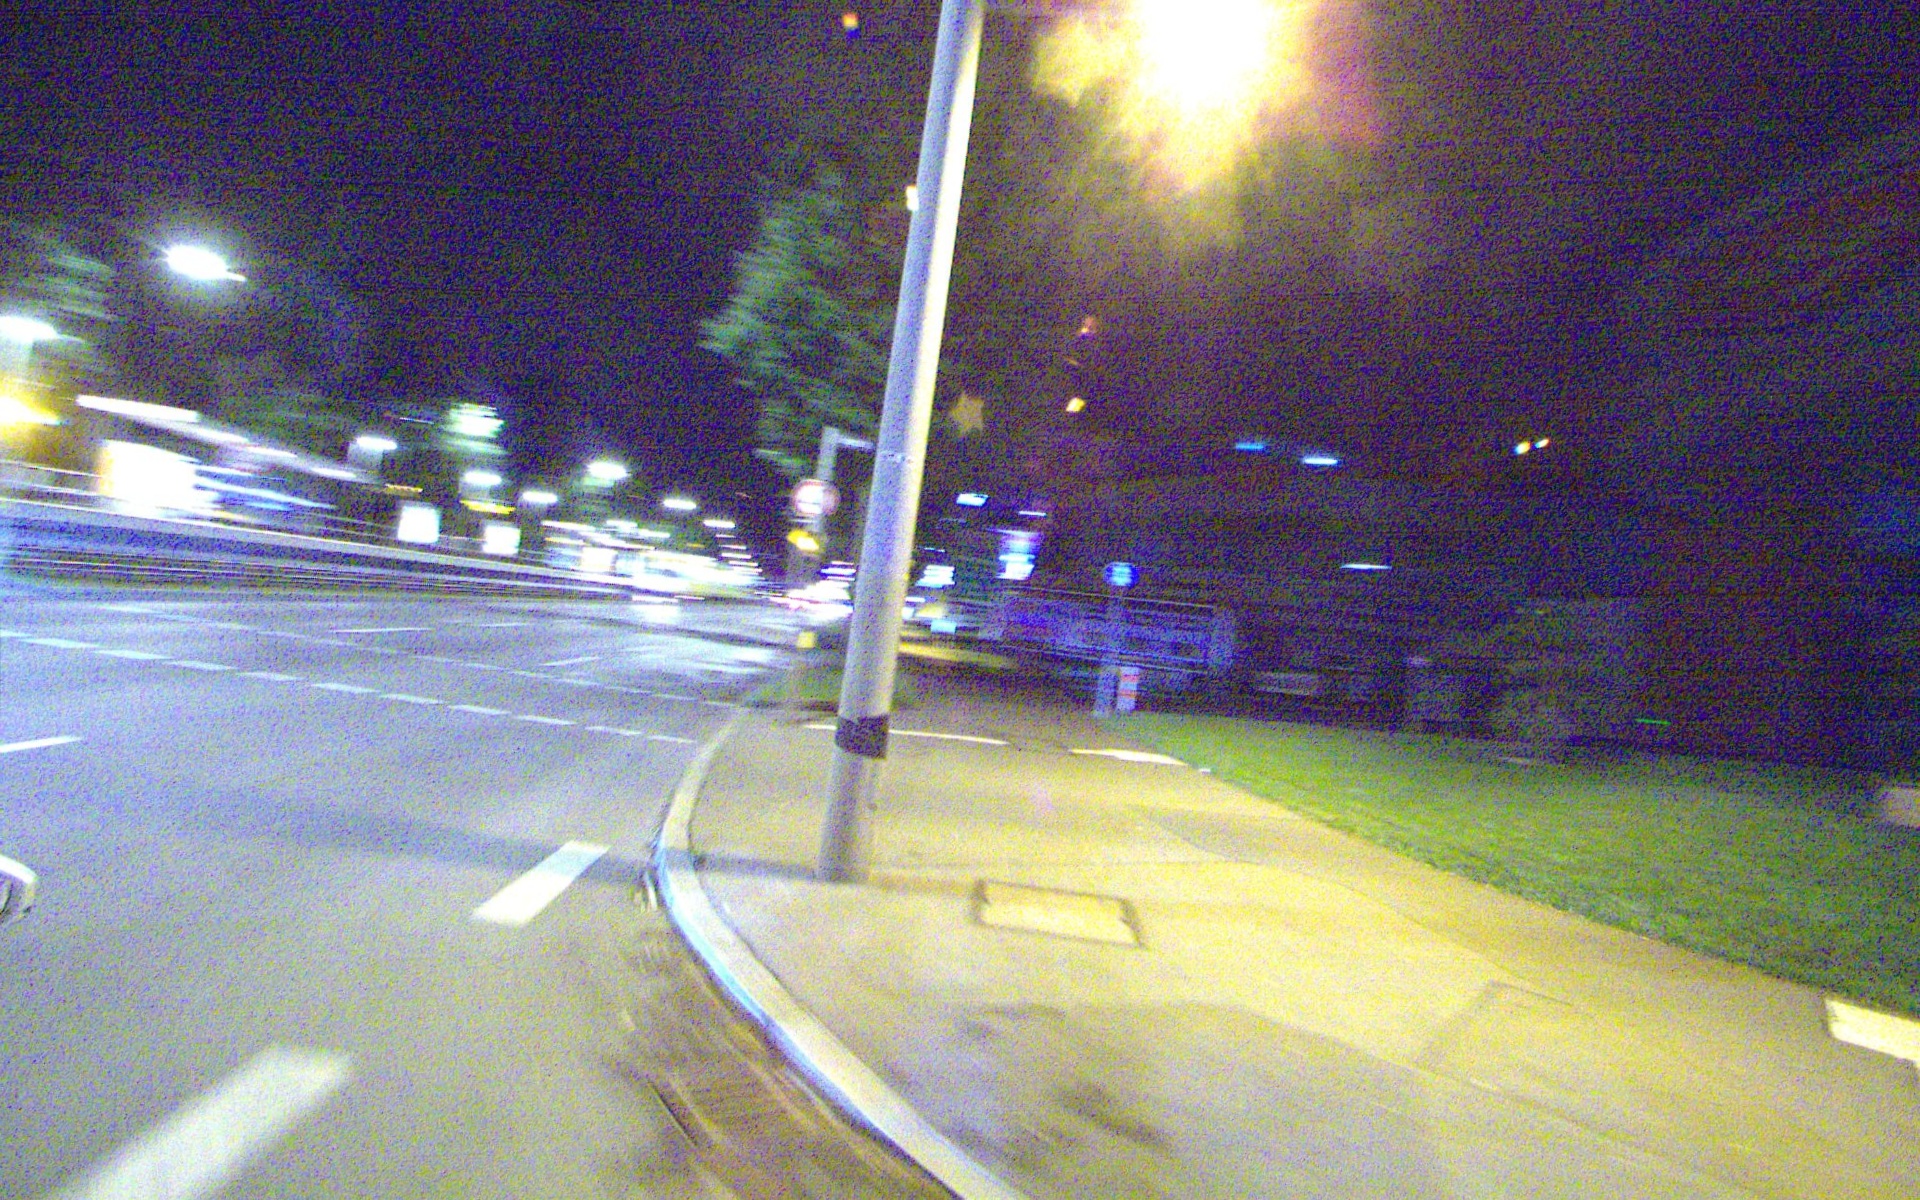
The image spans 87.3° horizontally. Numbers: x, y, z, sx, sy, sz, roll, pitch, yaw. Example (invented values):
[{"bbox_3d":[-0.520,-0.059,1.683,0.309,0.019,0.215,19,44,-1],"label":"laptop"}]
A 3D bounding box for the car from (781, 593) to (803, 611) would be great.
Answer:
[{"bbox_3d":[-19.354,0.258,116.215,1.832,1.678,4.460,10,-2,-4],"label":"car"}]

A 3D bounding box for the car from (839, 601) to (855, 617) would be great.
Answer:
[{"bbox_3d":[-14.270,1.124,127.331,1.780,1.682,3.994,11,0,-6],"label":"car"}]

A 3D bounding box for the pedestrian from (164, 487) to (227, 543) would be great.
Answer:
[{"bbox_3d":[-23.780,-2.642,31.298,1.059,1.518,1.144,7,-1,32],"label":"pedestrian"}]
